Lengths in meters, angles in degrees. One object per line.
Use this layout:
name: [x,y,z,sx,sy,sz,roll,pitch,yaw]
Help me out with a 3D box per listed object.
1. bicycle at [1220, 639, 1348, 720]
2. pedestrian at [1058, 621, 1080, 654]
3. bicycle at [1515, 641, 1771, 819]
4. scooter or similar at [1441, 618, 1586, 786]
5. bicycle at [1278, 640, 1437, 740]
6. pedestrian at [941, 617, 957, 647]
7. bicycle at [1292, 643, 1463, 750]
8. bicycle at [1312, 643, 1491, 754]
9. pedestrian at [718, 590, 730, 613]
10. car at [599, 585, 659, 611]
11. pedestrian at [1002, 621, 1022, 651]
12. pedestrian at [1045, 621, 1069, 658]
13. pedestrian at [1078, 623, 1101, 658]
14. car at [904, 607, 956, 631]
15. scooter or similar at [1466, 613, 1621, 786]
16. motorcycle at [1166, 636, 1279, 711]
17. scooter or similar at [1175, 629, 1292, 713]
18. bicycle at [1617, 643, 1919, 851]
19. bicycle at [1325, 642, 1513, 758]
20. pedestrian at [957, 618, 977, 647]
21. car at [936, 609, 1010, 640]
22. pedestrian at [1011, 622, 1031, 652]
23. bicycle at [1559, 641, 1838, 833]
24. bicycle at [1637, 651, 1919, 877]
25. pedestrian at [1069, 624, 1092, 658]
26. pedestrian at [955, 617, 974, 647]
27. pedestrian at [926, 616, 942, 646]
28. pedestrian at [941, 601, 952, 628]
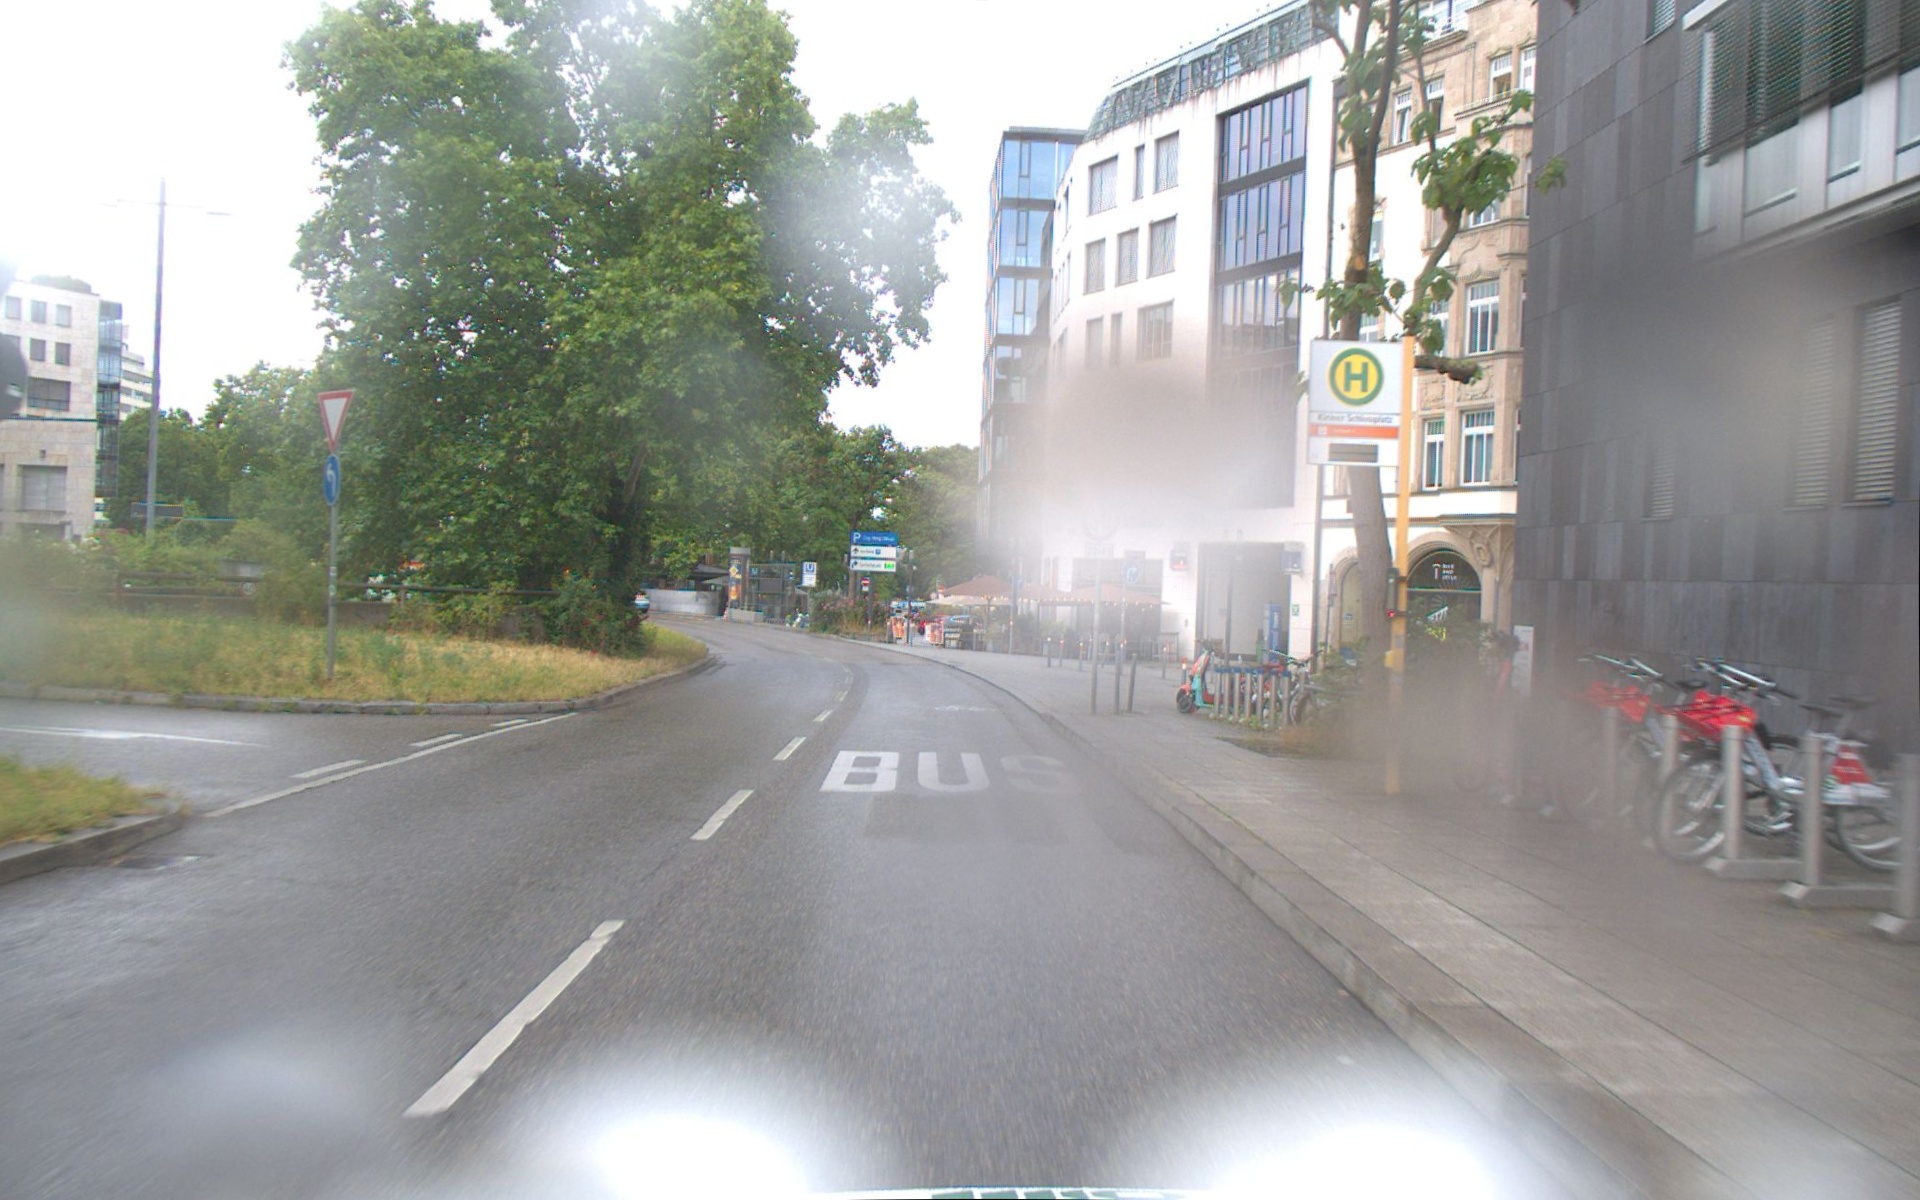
bicycle: [4.945,1.210,25.268,1.760,1.127,0.669,3,-2,-7]
pedestrian: [4.606,1.594,69.880,0.619,1.349,0.630,5,-1,-26]
bicycle: [4.734,0.894,11.503,1.505,1.160,0.661,2,-2,-8]
scooter or similar: [4.357,0.796,13.016,1.040,1.280,0.302,2,-2,-9]
bicycle: [4.923,1.110,20.522,1.760,1.127,0.669,3,-2,-7]
pedestrian: [-0.514,1.464,76.665,0.594,1.349,0.567,4,-1,-6]
bicycle: [4.712,1.084,18.704,1.760,1.087,0.555,3,-2,-6]
bicycle: [4.806,1.071,18.036,1.760,1.087,0.555,3,-2,-6]
pedestrian: [-17.575,0.105,123.063,0.707,1.731,0.619,1,-1,6]
car: [-22.933,-0.145,114.395,4.271,1.695,1.940,2,-1,44]
pedestrian: [2.508,1.730,79.411,0.801,1.349,0.635,4,-1,-6]
pedestrian: [3.724,1.518,63.478,0.759,1.349,0.635,4,-1,-6]
pedestrian: [5.309,1.656,67.775,0.619,1.349,0.630,5,-1,-26]
car: [-2.117,1.346,115.738,3.470,1.440,1.602,3,-1,45]
scooter or similar: [4.463,0.757,12.659,1.085,1.280,0.302,2,-2,-9]
motorcycle: [4.468,1.249,28.162,1.758,1.159,0.595,3,-2,-7]
scooter or similar: [4.493,1.170,27.238,1.758,1.265,0.595,3,-2,-7]
bicycle: [4.818,0.861,9.875,1.505,1.160,0.688,2,-2,-8]
bicycle: [4.758,1.030,17.161,1.760,1.087,0.555,3,-2,-6]
pedestrian: [0.354,1.539,78.647,0.801,1.349,0.635,4,-1,-6]
car: [0.799,1.580,107.141,4.640,1.720,2.004,3,0,-2]
pedestrian: [2.883,1.737,78.608,0.801,1.349,0.635,4,-1,-6]
bicycle: [4.758,0.872,10.697,1.505,1.160,0.688,2,-2,-8]
bicycle: [4.702,0.889,9.107,1.674,1.160,0.688,2,-2,-8]
pedestrian: [4.984,1.696,68.573,0.619,1.349,0.630,5,-1,-26]
pedestrian: [0.217,1.541,79.433,0.801,1.349,0.635,4,-1,-6]
pedestrian: [-1.190,1.425,76.599,0.594,1.349,0.567,4,-1,-6]
pedestrian: [-0.980,1.060,122.000,0.611,1.967,0.788,3,-1,5]
